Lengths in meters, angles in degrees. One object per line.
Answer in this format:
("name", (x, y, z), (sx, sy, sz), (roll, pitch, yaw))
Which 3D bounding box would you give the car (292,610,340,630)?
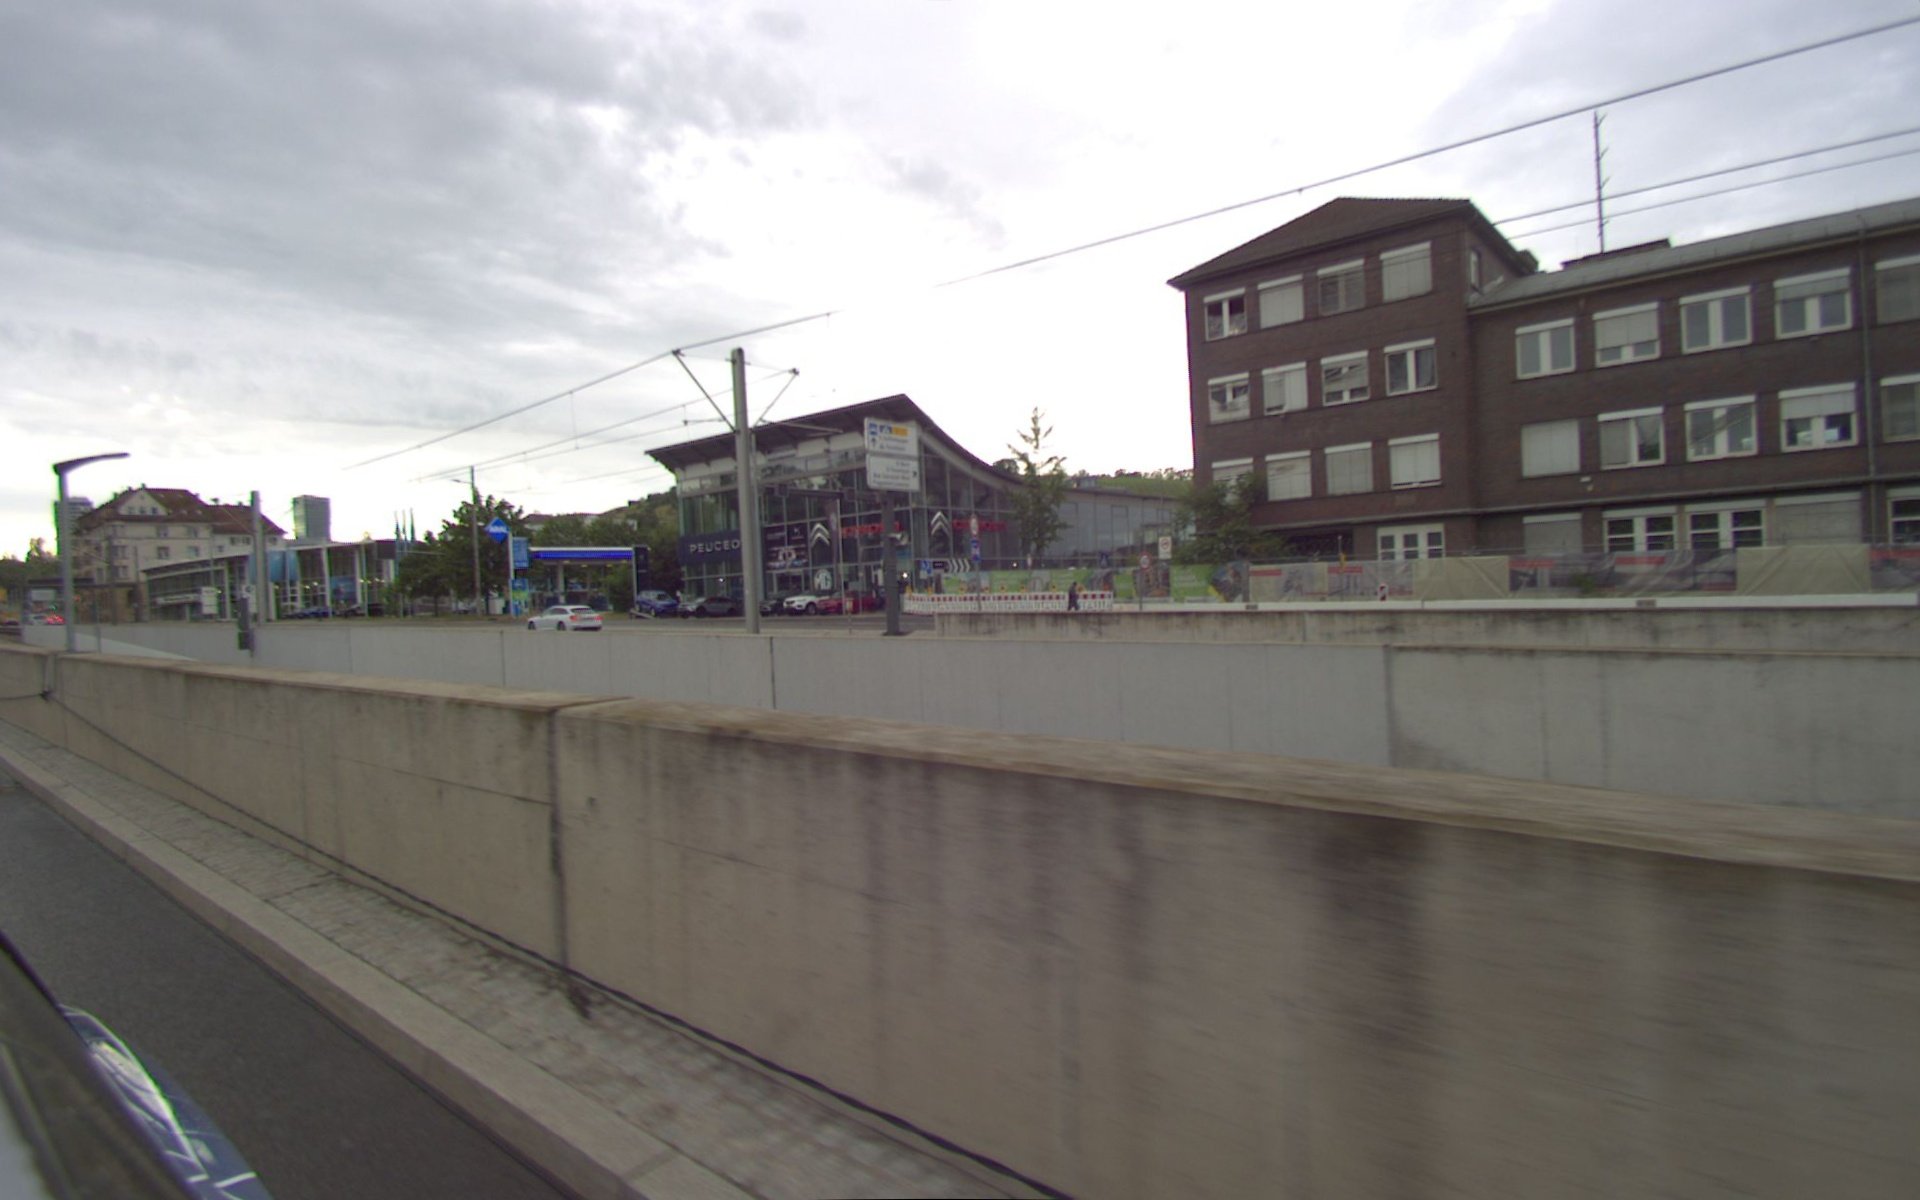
("car", (-70.344, 2.160, 110.561), (1.999, 2.029, 3.945), (-2, 0, 41))

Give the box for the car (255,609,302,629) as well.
("car", (-75.730, 2.094, 112.441), (1.999, 2.029, 3.945), (-2, 0, 41))

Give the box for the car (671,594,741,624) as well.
("car", (-16.548, 0.573, 66.054), (1.999, 1.785, 3.946), (-2, 0, 40))

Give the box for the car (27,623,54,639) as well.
("car", (-126.284, 4.248, 138.930), (3.997, 2.029, 2.242), (-2, 0, 40))

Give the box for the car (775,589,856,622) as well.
("car", (-8.492, 0.294, 59.645), (1.998, 1.773, 4.519), (-2, 0, 40))

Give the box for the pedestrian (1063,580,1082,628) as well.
("pedestrian", (4.827, 0.185, 43.466), (0.720, 2.029, 0.580), (-1, -1, 3))

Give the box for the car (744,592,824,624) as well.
("car", (-10.584, 0.486, 61.080), (1.998, 1.773, 4.519), (-2, 0, 40))

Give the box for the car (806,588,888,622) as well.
("car", (-6.481, 0.287, 58.354), (1.998, 1.773, 4.519), (-2, 0, 40))

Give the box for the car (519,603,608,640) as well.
("car", (-19.879, 1.079, 50.642), (4.574, 1.729, 2.093), (-2, 0, 38))

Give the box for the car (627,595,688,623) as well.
("car", (-20.486, 0.630, 68.522), (3.995, 1.785, 1.974), (-2, 0, 39))

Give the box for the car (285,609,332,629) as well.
("car", (-72.220, 2.081, 112.185), (1.999, 2.029, 3.945), (-2, 0, 41))
